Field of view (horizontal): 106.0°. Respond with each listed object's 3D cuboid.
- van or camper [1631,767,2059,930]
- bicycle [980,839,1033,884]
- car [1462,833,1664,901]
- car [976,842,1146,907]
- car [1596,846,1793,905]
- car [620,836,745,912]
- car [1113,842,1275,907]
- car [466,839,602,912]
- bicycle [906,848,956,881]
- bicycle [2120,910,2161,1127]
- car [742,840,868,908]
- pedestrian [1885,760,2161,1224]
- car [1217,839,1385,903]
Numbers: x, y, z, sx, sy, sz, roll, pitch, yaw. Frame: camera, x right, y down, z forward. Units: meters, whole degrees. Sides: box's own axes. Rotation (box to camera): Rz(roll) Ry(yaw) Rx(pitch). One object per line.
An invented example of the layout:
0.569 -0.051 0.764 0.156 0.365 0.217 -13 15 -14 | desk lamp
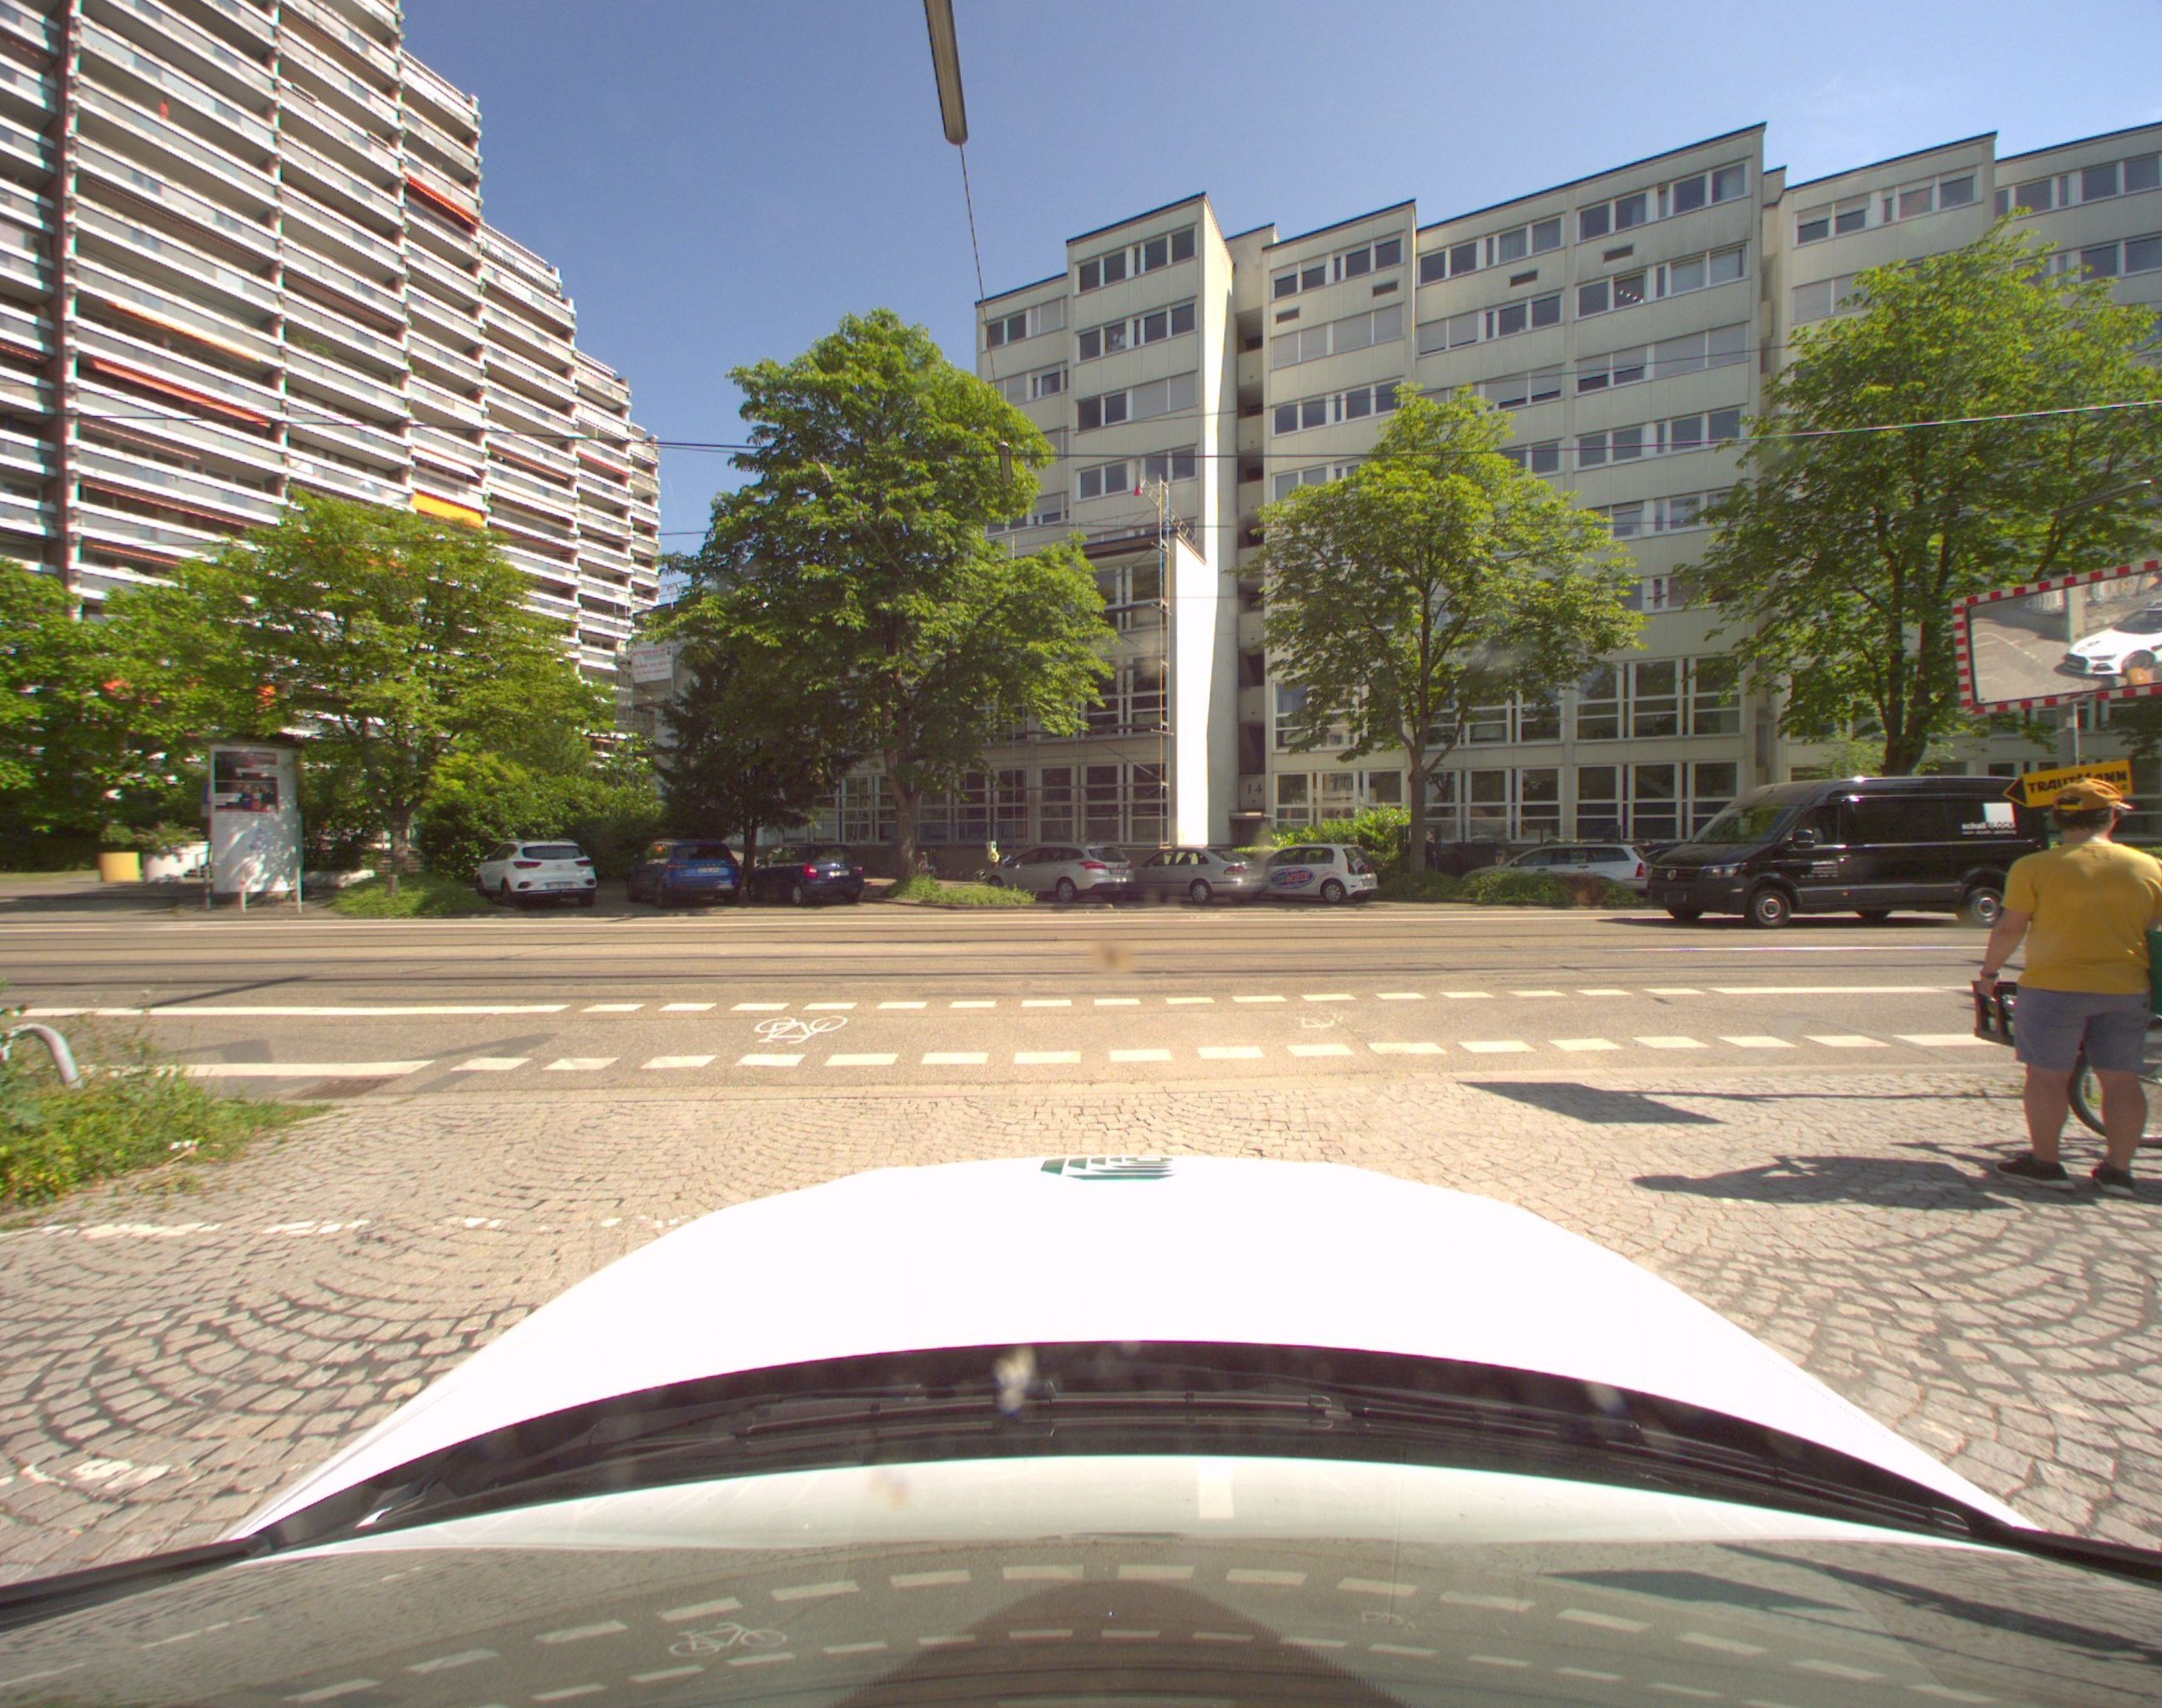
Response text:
13.251 -0.118 14.366 5.828 2.619 2.049 -1 1 -2 | van or camper
-2.481 0.234 27.460 0.655 1.453 2.103 0 1 30 | bicycle
12.398 0.304 21.130 4.289 1.604 1.568 0 0 41 | car
-0.614 0.458 20.948 4.380 1.486 1.795 0 1 44 | car
15.696 0.498 20.956 3.896 1.357 1.568 0 1 44 | car
-9.988 0.402 20.286 1.790 1.622 3.898 -2 3 -42 | car
2.798 0.459 20.762 1.622 1.486 3.897 -1 1 -44 | car
-13.457 0.450 19.965 3.895 1.606 1.831 0 1 42 | car
-5.186 0.352 28.310 0.735 1.086 2.213 0 1 18 | bicycle
5.658 0.821 3.463 0.363 1.041 1.503 -1 1 -18 | bicycle
-6.943 0.441 20.354 3.415 1.531 1.586 0 1 44 | car
4.424 0.551 3.689 0.844 1.864 0.834 -1 0 22 | pedestrian
5.602 0.418 21.054 3.896 1.486 1.622 -1 0 45 | car
